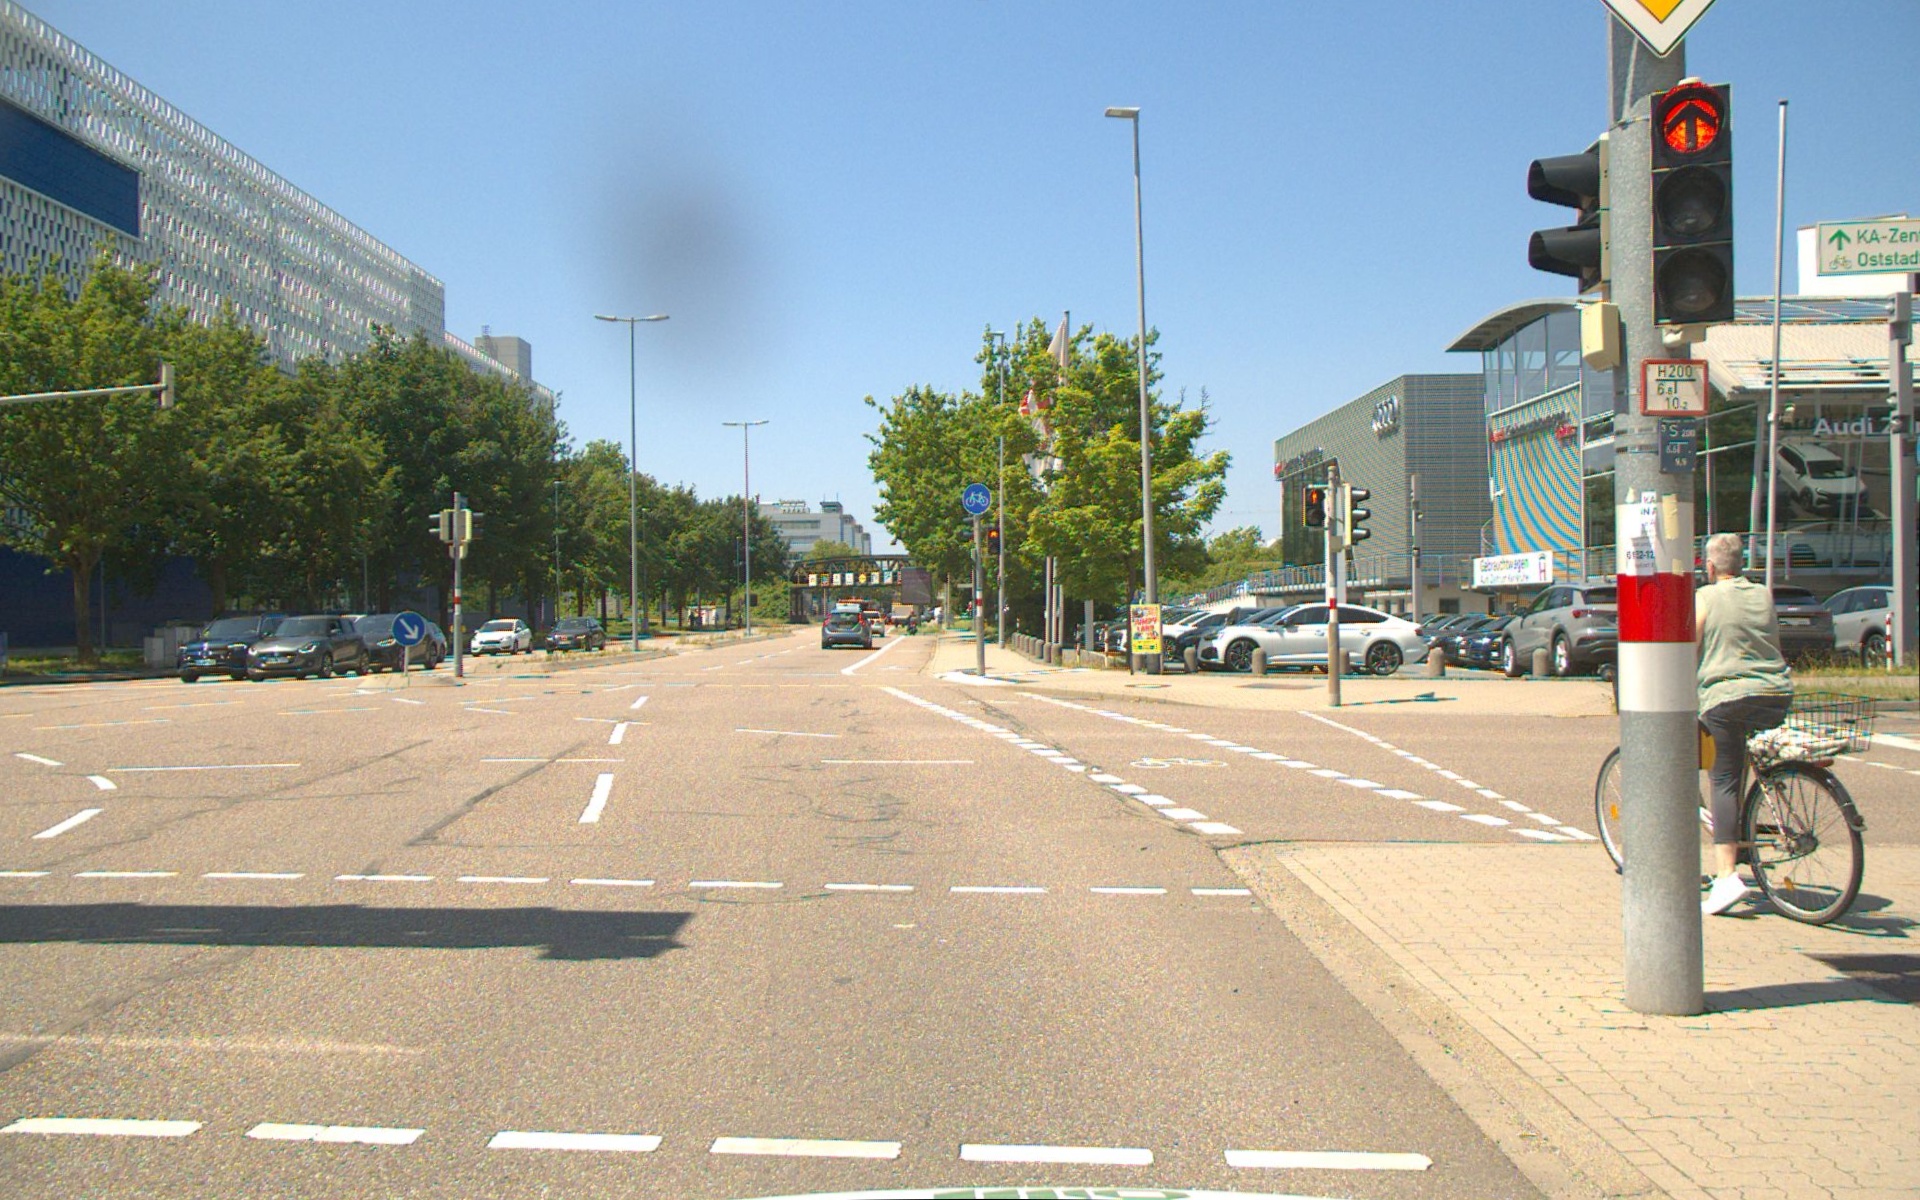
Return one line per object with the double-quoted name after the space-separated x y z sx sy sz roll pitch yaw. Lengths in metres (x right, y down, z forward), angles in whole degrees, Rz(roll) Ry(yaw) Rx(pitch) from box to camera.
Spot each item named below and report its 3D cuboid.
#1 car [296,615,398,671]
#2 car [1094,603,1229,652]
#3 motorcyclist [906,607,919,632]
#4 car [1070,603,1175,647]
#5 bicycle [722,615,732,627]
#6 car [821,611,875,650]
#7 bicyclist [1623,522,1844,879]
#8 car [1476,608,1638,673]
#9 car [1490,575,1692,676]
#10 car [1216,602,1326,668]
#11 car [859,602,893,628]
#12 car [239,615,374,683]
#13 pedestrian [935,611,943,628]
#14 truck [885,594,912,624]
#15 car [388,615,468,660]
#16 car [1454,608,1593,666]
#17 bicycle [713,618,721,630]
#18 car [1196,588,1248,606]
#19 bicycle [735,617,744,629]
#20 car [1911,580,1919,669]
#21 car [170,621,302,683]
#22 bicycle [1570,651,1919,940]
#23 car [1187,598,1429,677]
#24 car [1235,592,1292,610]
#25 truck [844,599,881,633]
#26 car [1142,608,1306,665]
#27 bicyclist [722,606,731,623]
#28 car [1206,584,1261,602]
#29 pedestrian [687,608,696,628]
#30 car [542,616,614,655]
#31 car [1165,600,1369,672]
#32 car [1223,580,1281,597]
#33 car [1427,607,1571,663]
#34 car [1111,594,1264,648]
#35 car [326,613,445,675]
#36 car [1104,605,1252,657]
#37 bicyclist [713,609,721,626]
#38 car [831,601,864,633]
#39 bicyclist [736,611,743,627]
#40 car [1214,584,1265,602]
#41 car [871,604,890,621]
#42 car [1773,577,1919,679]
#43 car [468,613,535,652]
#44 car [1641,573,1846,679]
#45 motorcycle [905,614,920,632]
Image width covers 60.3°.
-18.598 1.290 50.333 1.691 1.571 3.914 -2 -1 -1 "car"
6.332 0.860 52.337 4.017 1.429 1.868 2 -1 -1 "car"
-3.042 1.248 105.937 0.706 1.556 0.868 1 -1 -11 "motorcyclist"
5.895 0.907 60.365 3.607 1.479 1.833 2 -1 -1 "car"
-22.846 2.093 162.245 0.724 1.145 2.434 -1 0 -1 "bicycle"
-4.233 1.143 63.141 1.862 1.400 4.230 -1 0 -2 "car"
3.727 0.466 8.022 0.616 1.634 0.824 1 -1 -8 "bicyclist"
16.623 1.116 46.163 3.904 1.650 1.656 2 -1 -1 "car"
11.018 0.478 29.241 1.830 1.586 4.503 -2 -2 0 "car"
7.412 0.817 39.782 1.824 1.444 4.663 2 -1 1 "car"
-4.656 0.825 91.964 1.708 1.420 3.528 -1 0 -1 "car"
-15.167 1.118 38.570 1.610 1.413 3.715 -3 -1 0 "car"
-1.730 1.583 137.458 0.611 1.399 0.564 -1 -1 -3 "pedestrian"
-6.091 0.922 164.722 2.562 2.900 5.613 1 0 -1 "truck"
-18.804 1.325 58.580 1.616 1.512 3.914 -2 -1 -1 "car"
16.767 1.093 49.330 3.573 1.608 1.642 2 -1 -1 "car"
-23.230 2.290 158.174 0.624 1.153 1.969 -1 -1 -3 "bicycle"
21.430 -0.245 135.448 3.909 1.335 1.795 -1 -1 -5 "car"
-23.333 2.445 175.051 0.616 1.179 2.116 -3 0 -2 "bicycle"
18.710 0.479 29.033 1.604 1.644 3.814 0 1 -5 "car"
-18.367 1.292 42.125 1.627 1.449 4.037 -2 -1 -1 "car"
3.722 0.864 8.028 0.616 1.153 1.892 0 1 -7 "bicycle"
6.944 0.748 33.346 4.497 1.415 1.869 2 -1 1 "car"
21.409 0.076 116.800 3.652 1.150 1.682 1 -1 -5 "car"
-7.331 1.220 125.068 2.408 2.452 7.132 1 0 -1 "truck"
6.945 0.952 43.773 4.013 1.388 1.874 2 -1 -1 "car"
-22.851 1.413 162.104 0.730 1.715 0.952 -1 -1 -2 "bicyclist"
21.446 -0.552 129.667 3.909 1.335 1.795 1 -1 -5 "car"
-25.687 1.699 158.407 0.728 1.917 0.577 -1 -1 0 "pedestrian"
-15.690 1.454 68.161 1.691 1.471 4.720 -3 -1 2 "car"
6.574 0.765 35.717 4.013 1.415 1.868 2 -1 -1 "car"
21.352 -0.823 121.003 3.862 1.232 1.715 0 -1 -5 "car"
16.745 1.077 51.480 3.901 1.601 1.633 2 -1 -1 "car"
6.364 0.595 46.506 4.016 1.372 1.868 2 -1 -1 "car"
-15.474 1.172 44.773 1.691 1.531 4.243 -3 -1 0 "car"
6.471 0.927 49.458 4.140 1.415 1.868 2 -1 -1 "car"
-23.240 1.718 158.168 0.624 1.610 0.884 -1 -1 -2 "bicyclist"
-7.323 1.102 108.077 1.953 2.049 3.998 0 -1 -2 "car"
-23.351 1.959 175.035 0.621 1.657 1.044 -3 -1 -2 "bicyclist"
21.144 -0.543 125.169 3.455 1.261 1.675 1 -1 -5 "car"
-10.116 1.568 210.970 1.952 2.049 4.001 -2 0 2 "car"
16.421 0.498 29.297 1.808 1.683 3.994 2 -1 -5 "car"
-19.007 1.335 68.719 1.708 1.512 3.999 -2 -1 -1 "car"
13.641 0.459 29.050 1.806 1.683 3.999 2 -1 2 "car"
-3.026 1.464 105.843 0.703 1.124 1.825 1 -1 -10 "motorcycle"
